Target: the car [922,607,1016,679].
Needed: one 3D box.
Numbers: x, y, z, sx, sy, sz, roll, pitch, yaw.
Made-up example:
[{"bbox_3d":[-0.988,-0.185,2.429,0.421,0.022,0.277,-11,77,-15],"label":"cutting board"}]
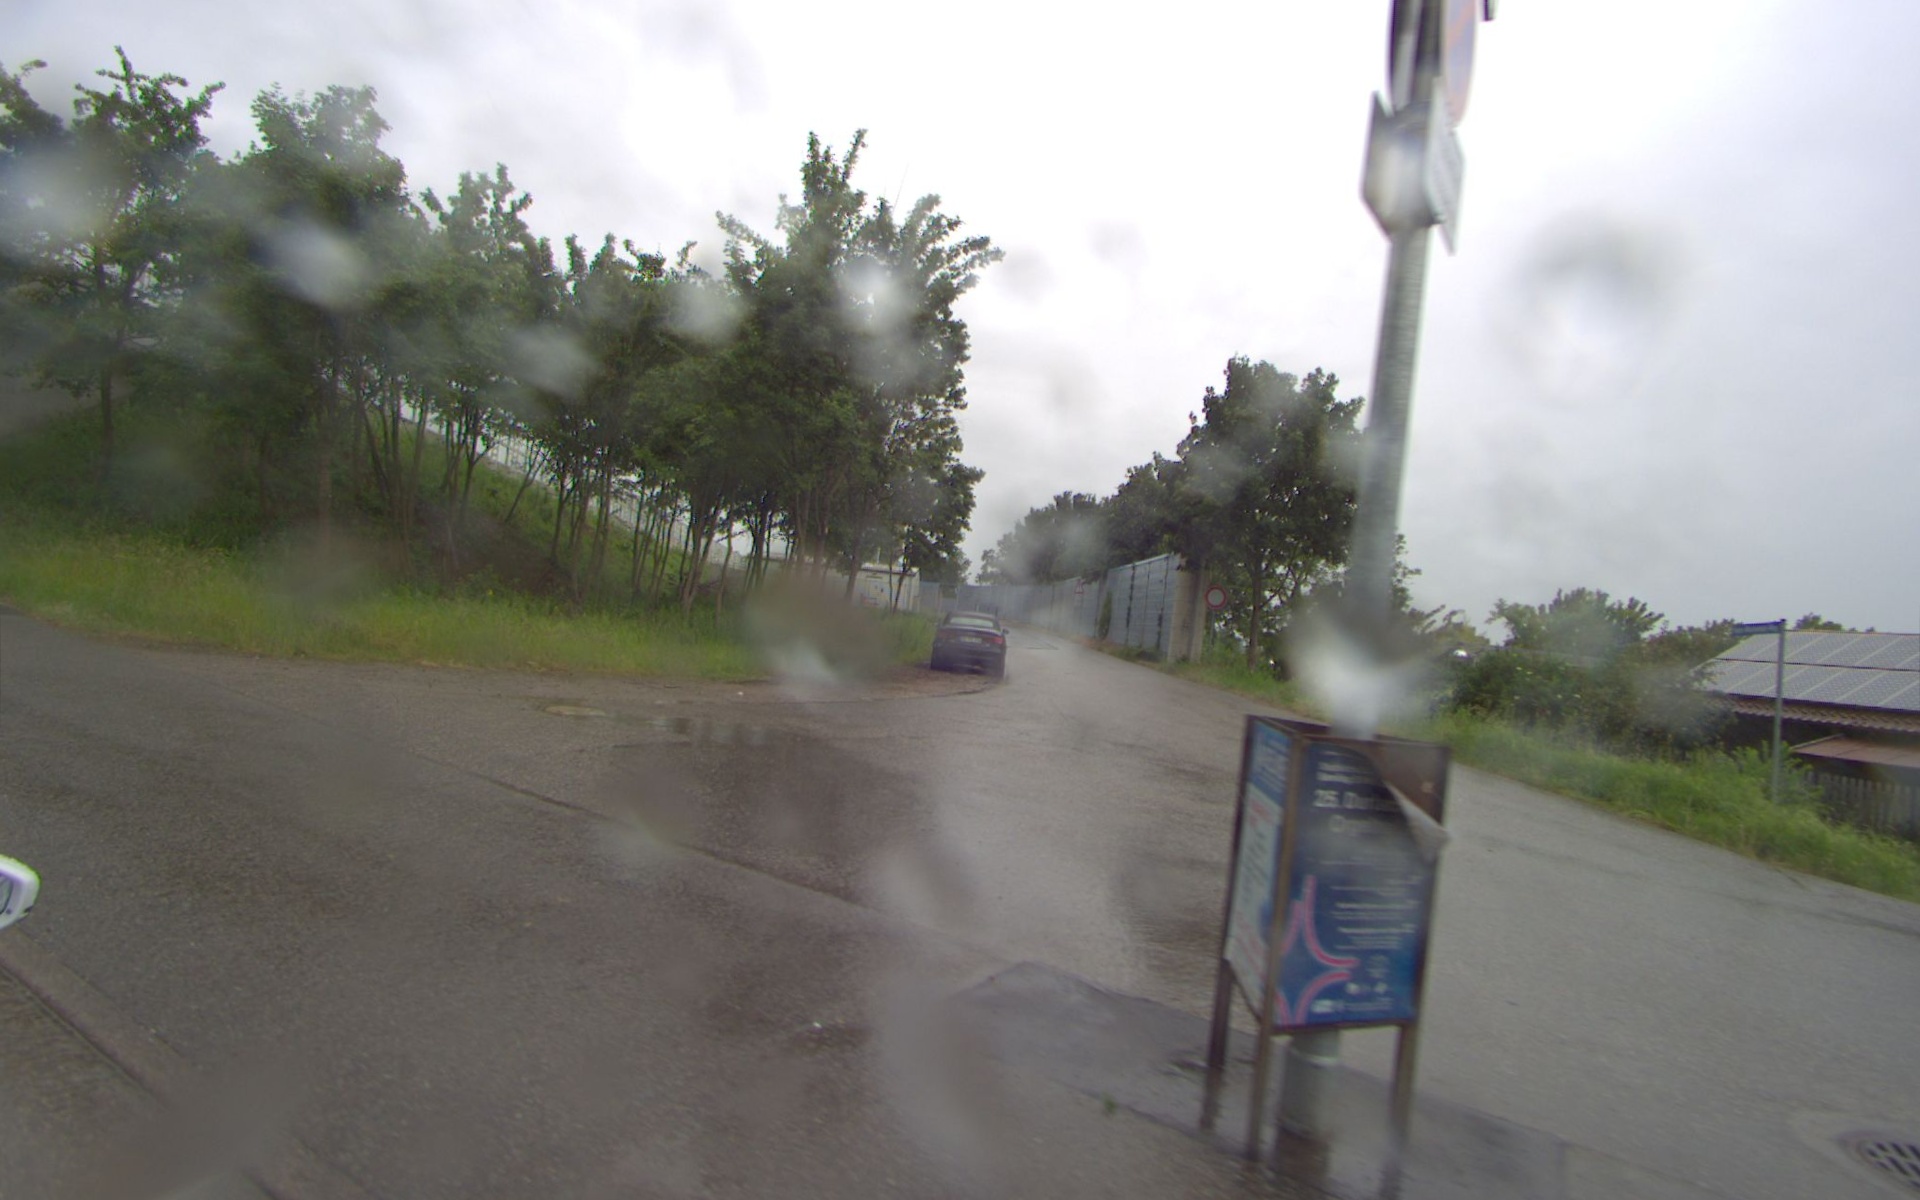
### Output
[{"bbox_3d":[0.131,1.040,24.468,1.871,1.374,4.113,8,-2,-3],"label":"car"}]
